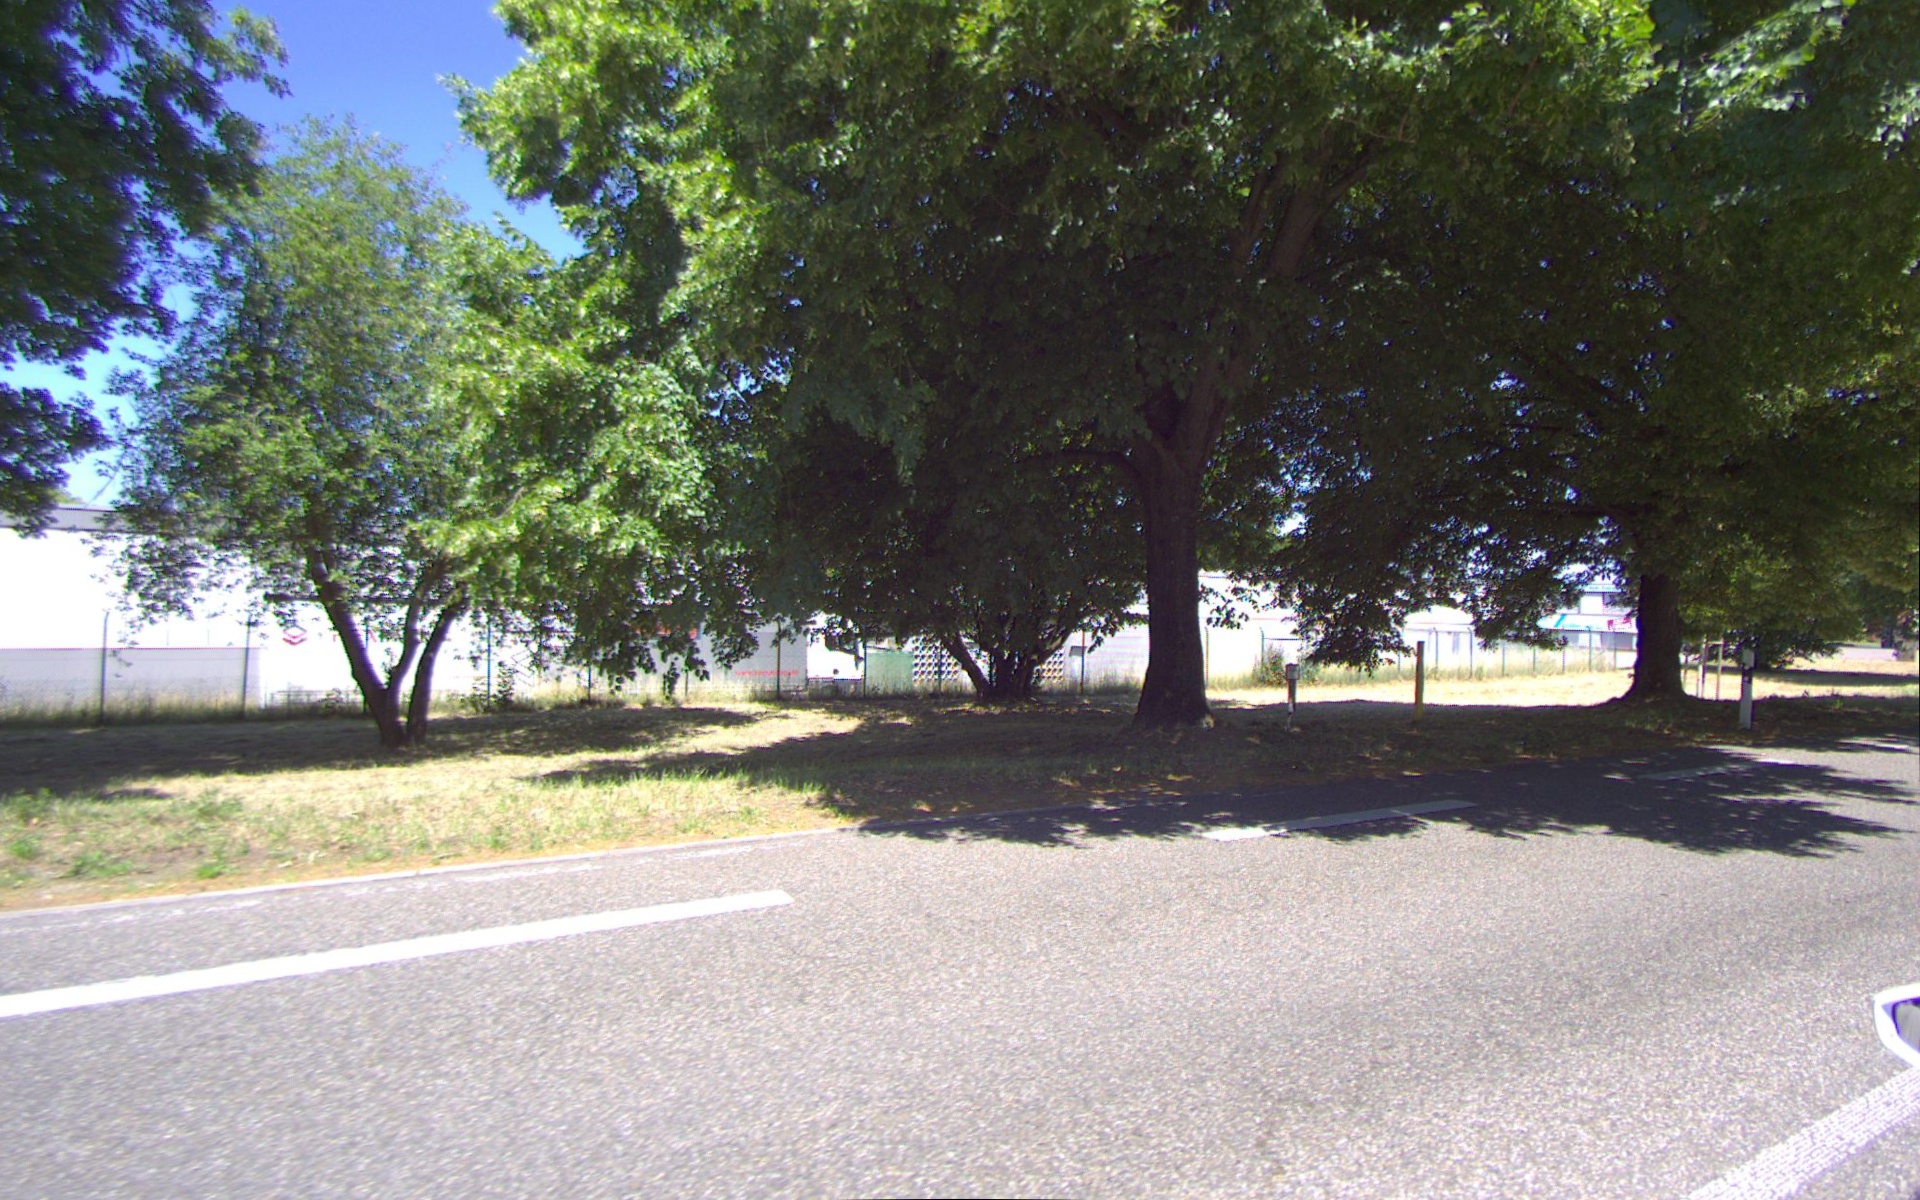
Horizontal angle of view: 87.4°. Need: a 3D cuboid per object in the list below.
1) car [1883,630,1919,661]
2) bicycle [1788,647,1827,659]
[{"bbox_3d":[52.507,2.494,55.775,1.718,1.606,3.975,1,-1,45],"label":"car"},{"bbox_3d":[49.670,3.104,58.886,0.420,0.655,1.661,2,-1,-35],"label":"bicycle"}]
